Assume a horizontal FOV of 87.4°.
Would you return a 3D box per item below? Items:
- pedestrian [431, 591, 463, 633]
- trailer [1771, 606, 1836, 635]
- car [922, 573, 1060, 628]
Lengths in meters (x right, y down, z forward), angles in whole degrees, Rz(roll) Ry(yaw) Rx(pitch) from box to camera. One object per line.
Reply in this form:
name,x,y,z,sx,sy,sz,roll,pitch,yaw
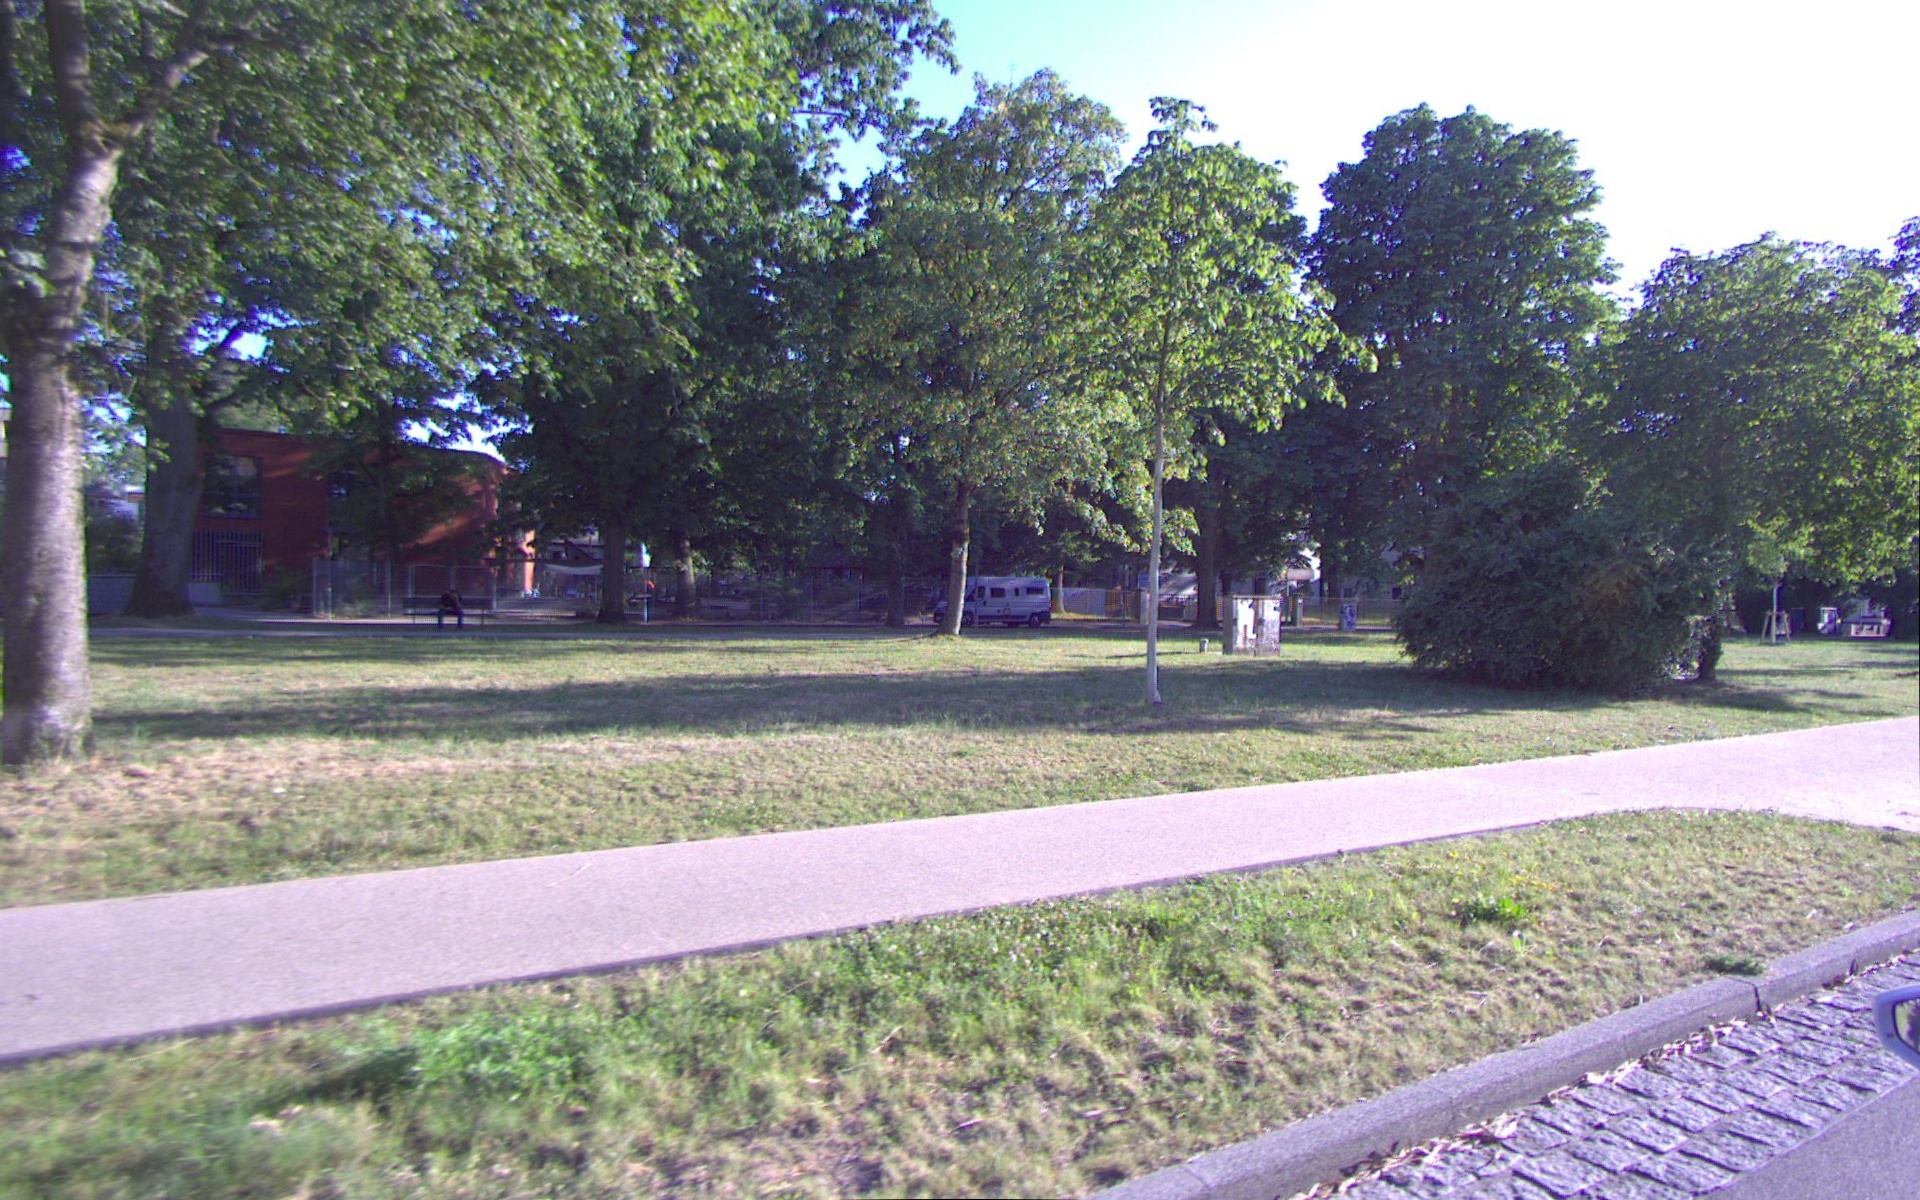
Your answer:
pedestrian,-12.455,0.299,24.411,0.601,1.000,0.547,1,0,-19
trailer,80.246,1.958,95.531,6.965,2.522,2.448,2,-1,-30
car,1.547,0.070,49.129,6.247,2.496,2.706,2,-1,-32
